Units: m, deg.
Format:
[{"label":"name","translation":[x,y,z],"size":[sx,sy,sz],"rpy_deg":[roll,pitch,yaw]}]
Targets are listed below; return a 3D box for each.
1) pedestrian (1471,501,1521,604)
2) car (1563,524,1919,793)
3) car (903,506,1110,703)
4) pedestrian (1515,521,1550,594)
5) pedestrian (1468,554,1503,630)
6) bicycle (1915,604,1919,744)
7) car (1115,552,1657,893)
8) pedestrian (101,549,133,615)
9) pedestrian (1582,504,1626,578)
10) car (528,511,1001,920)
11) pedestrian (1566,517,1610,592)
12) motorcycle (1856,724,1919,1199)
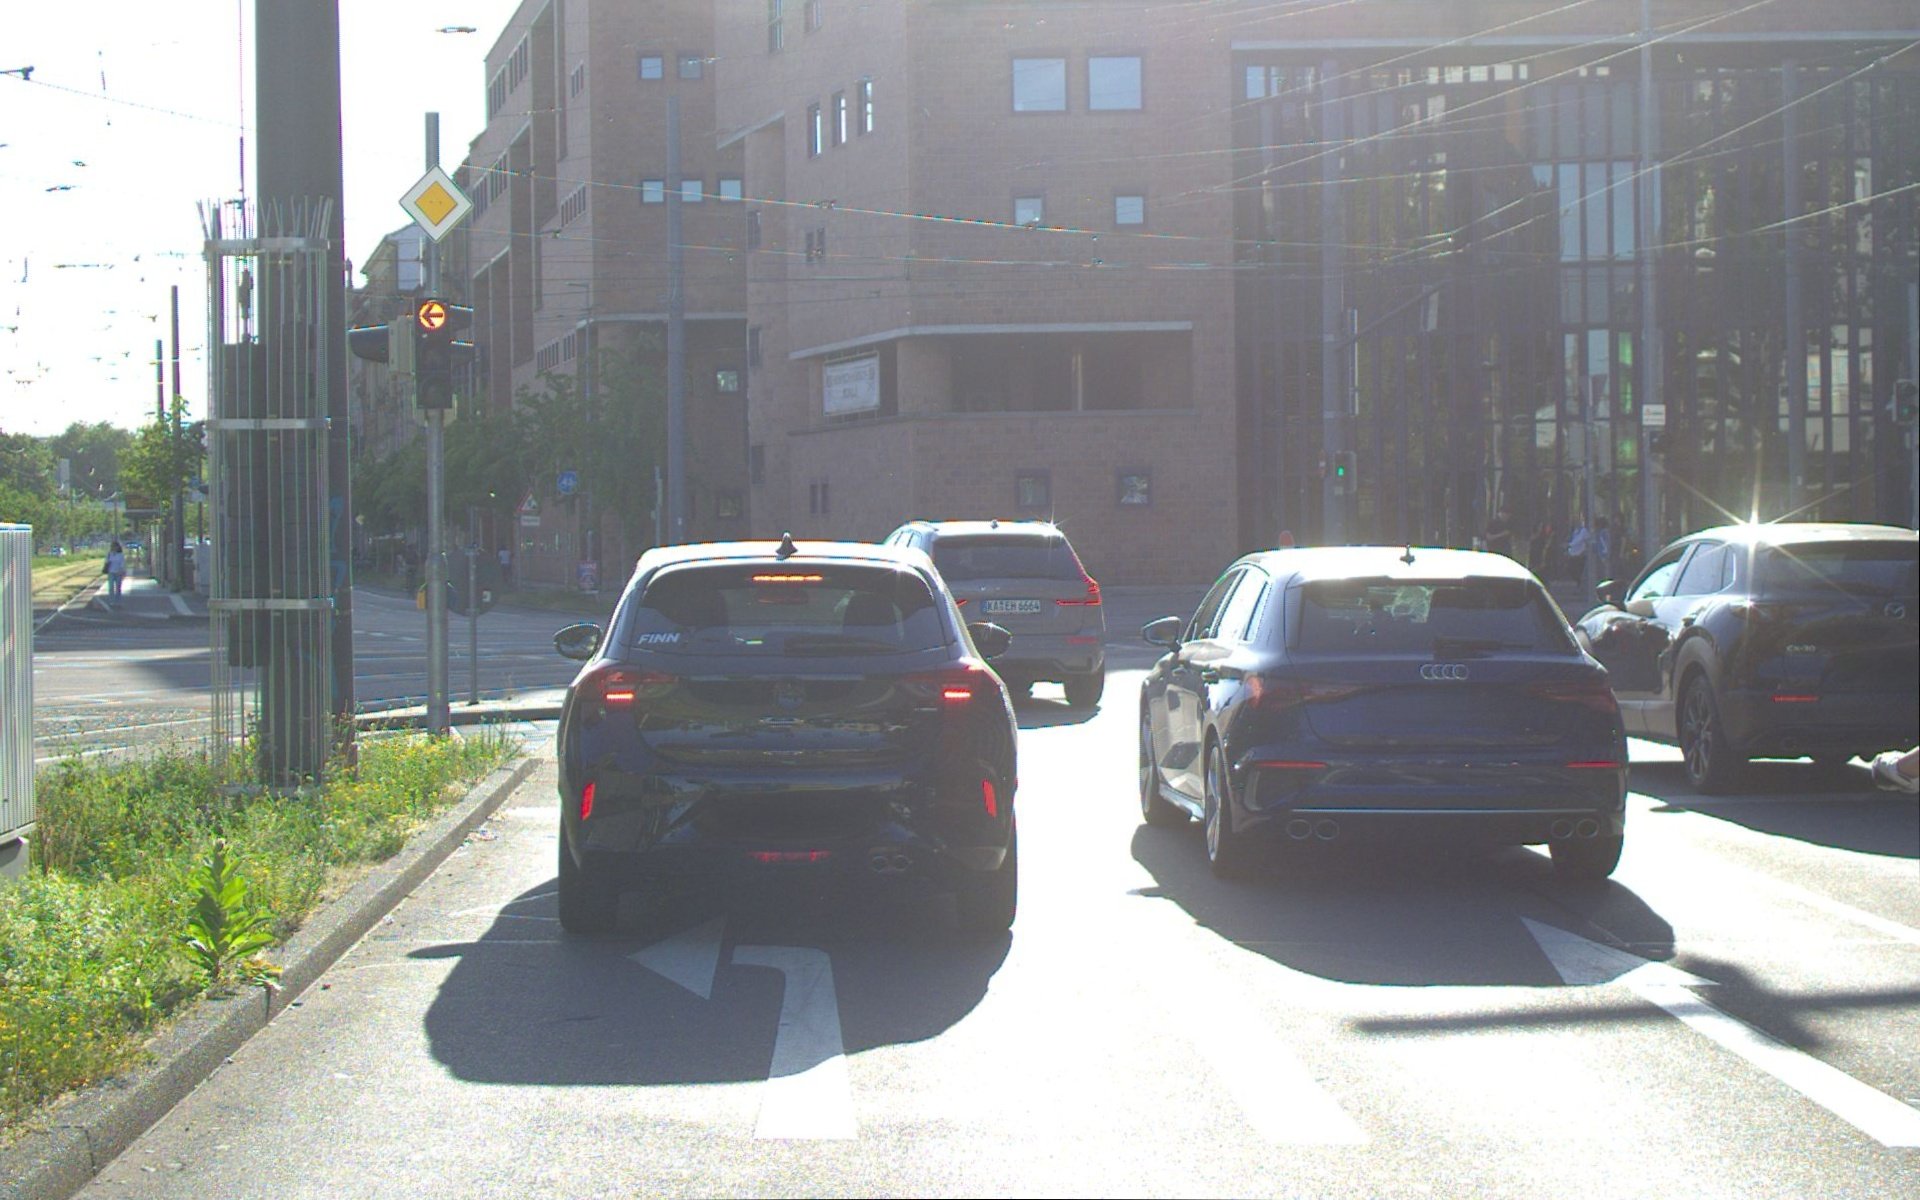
[{"label":"pedestrian","translation":[9.206,-0.813,59.024],"size":[0.707,1.753,0.560],"rpy_deg":[0,1,24]},{"label":"car","translation":[4.931,0.277,20.622],"size":[1.807,1.452,4.001],"rpy_deg":[0,1,-2]},{"label":"car","translation":[0.370,-0.002,31.097],"size":[1.737,1.645,4.000],"rpy_deg":[-1,1,-1]},{"label":"pedestrian","translation":[12.882,-0.956,77.329],"size":[0.738,1.611,0.560],"rpy_deg":[-1,1,7]},{"label":"pedestrian","translation":[9.957,-0.151,65.144],"size":[0.529,1.425,0.598],"rpy_deg":[-1,1,-2]},{"label":"bicycle","translation":[7.080,0.550,23.398],"size":[0.491,0.994,2.328],"rpy_deg":[-1,1,-1]},{"label":"car","translation":[1.825,0.466,15.955],"size":[1.737,1.345,4.001],"rpy_deg":[-1,1,-4]},{"label":"pedestrian","translation":[-21.185,-0.468,86.388],"size":[0.742,1.634,0.768],"rpy_deg":[-1,1,-15]},{"label":"pedestrian","translation":[14.232,-1.303,76.031],"size":[0.900,1.611,0.560],"rpy_deg":[-1,1,7]},{"label":"car","translation":[-0.712,0.368,14.114],"size":[1.649,1.428,4.000],"rpy_deg":[-1,1,-1]},{"label":"pedestrian","translation":[13.658,-0.989,74.784],"size":[0.900,1.611,0.560],"rpy_deg":[-1,1,7]},{"label":"motorcycle","translation":[2.406,0.856,6.813],"size":[0.775,1.111,1.969],"rpy_deg":[-1,1,1]}]
